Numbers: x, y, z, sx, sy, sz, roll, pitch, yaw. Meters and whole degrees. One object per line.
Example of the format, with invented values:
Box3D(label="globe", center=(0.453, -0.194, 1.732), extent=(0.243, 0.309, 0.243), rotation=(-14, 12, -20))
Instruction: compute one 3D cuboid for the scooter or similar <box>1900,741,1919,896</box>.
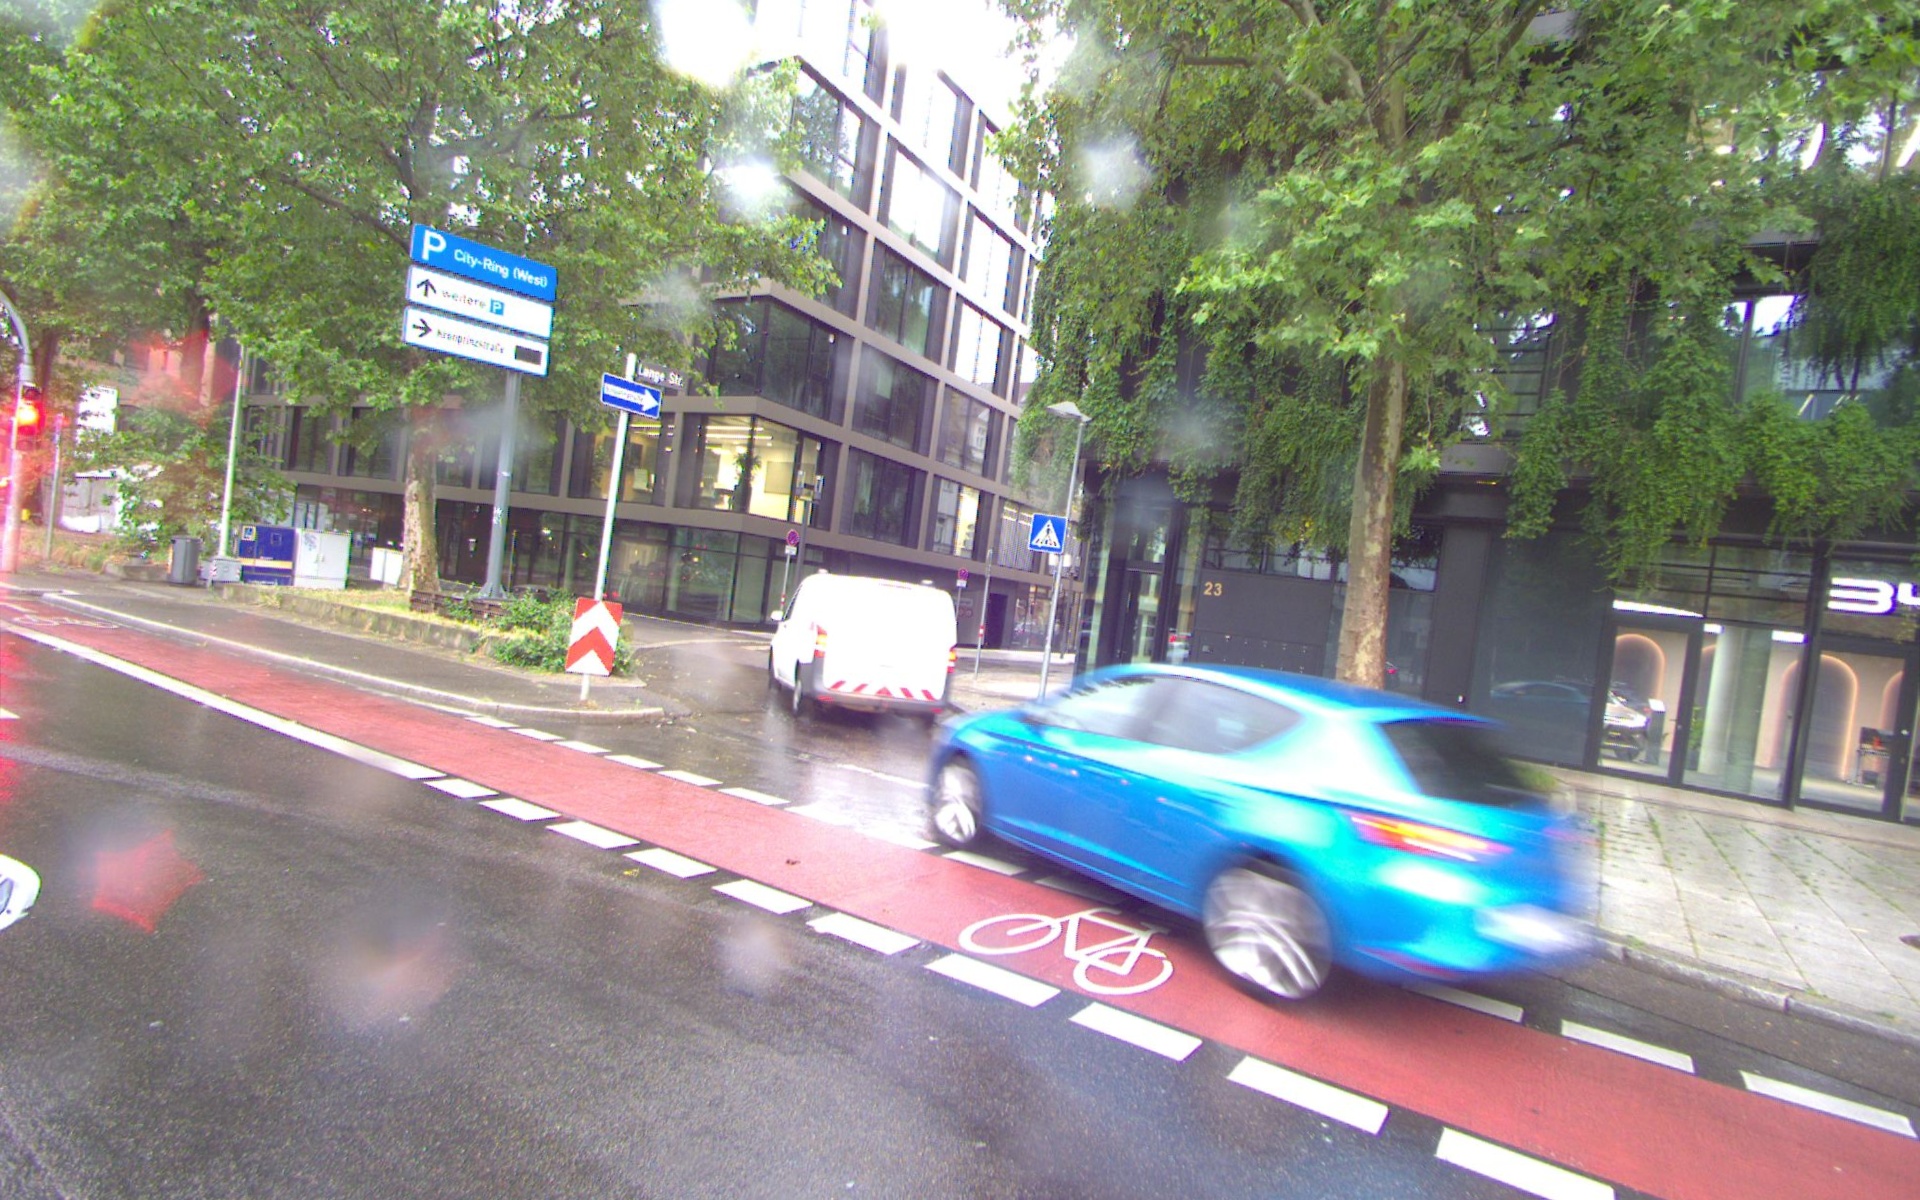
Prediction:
Box3D(label="scooter or similar", center=(8.500, 1.878, 8.104), extent=(0.528, 1.297, 1.184), rotation=(7, -1, -8))

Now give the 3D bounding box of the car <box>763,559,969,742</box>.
Box3D(label="car", center=(-1.554, 0.552, 14.296), extent=(1.896, 1.970, 4.947), rotation=(7, 0, -15))

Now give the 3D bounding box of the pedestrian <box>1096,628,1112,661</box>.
Box3D(label="pedestrian", center=(7.337, 2.280, 51.262), extent=(0.537, 1.579, 0.503), rotation=(6, -1, 29))

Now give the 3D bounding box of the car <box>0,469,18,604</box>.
Box3D(label="car", center=(-12.159, -0.765, 10.847), extent=(3.935, 1.717, 1.881), rotation=(6, -2, 33))

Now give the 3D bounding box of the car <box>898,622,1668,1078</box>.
Box3D(label="car", center=(1.450, 1.068, 5.956), extent=(1.783, 1.453, 4.028), rotation=(7, -1, -33))
